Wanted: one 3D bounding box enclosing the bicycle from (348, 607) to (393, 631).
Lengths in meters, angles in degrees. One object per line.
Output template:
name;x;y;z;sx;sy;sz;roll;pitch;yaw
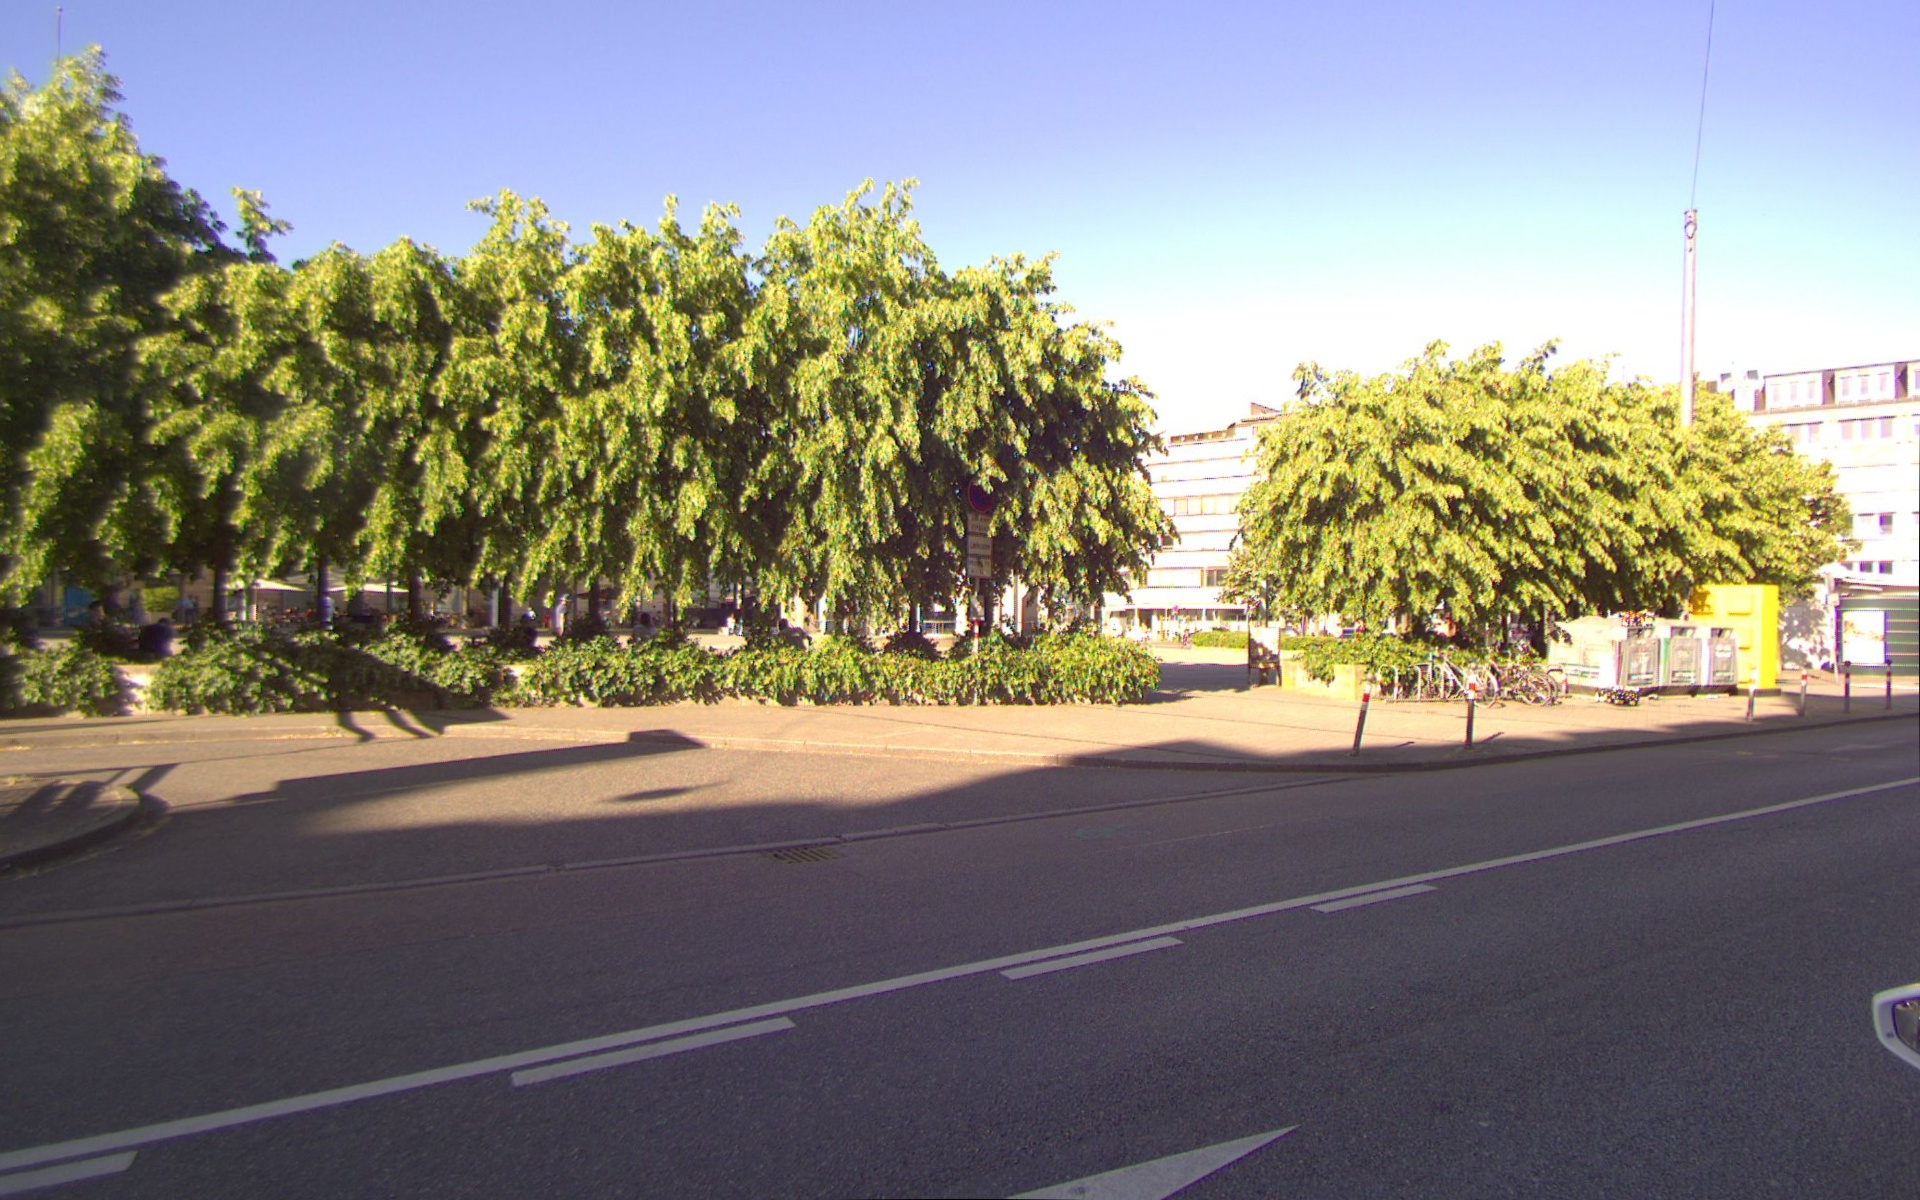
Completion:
bicycle;-26.727;0.868;45.516;2.018;1.030;0.504;1;0;16

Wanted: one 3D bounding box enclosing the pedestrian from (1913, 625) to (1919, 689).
pedestrian;25.397;1.491;25.911;0.727;1.658;0.983;1;0;-26

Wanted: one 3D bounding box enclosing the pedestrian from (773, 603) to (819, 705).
pedestrian;-3.109;1.003;19.069;0.574;1.881;0.598;1;0;41

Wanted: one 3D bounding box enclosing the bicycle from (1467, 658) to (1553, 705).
bicycle;10.492;1.543;19.216;0.435;0.779;1.469;1;0;-25

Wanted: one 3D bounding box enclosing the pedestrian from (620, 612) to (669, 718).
pedestrian;-5.738;1.170;18.272;0.722;1.881;0.578;1;0;-27

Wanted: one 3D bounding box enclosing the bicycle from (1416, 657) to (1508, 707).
bicycle;9.262;1.498;18.596;0.467;0.779;1.654;1;0;-20

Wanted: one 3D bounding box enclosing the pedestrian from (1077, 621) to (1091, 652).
pedestrian;8.382;2.455;67.977;0.670;2.040;0.579;1;0;-23

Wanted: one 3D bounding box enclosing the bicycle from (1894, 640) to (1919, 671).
bicycle;35.971;2.076;37.051;0.796;1.119;2.073;1;-1;-29

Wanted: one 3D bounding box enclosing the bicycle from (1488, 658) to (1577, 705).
bicycle;11.027;1.558;19.377;0.468;0.779;1.468;2;0;-26

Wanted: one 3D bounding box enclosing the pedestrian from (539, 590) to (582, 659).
pedestrian;-10.521;0.643;26.459;0.918;1.775;0.728;1;0;-14

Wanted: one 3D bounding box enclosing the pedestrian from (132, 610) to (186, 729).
pedestrian;-13.040;1.120;16.364;0.595;1.881;0.577;1;0;-33

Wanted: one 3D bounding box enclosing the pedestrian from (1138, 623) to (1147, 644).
pedestrian;15.590;2.873;85.746;0.591;1.816;0.581;1;0;-12

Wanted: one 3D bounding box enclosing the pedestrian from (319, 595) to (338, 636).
pedestrian;-27.874;0.682;44.350;0.597;1.816;0.575;1;0;-44

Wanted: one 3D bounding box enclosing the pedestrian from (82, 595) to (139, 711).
pedestrian;-14.164;0.871;16.757;0.672;1.881;0.576;1;0;-41

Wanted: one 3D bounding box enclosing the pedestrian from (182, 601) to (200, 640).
pedestrian;-35.615;0.944;46.537;0.596;1.816;0.576;1;0;-40
